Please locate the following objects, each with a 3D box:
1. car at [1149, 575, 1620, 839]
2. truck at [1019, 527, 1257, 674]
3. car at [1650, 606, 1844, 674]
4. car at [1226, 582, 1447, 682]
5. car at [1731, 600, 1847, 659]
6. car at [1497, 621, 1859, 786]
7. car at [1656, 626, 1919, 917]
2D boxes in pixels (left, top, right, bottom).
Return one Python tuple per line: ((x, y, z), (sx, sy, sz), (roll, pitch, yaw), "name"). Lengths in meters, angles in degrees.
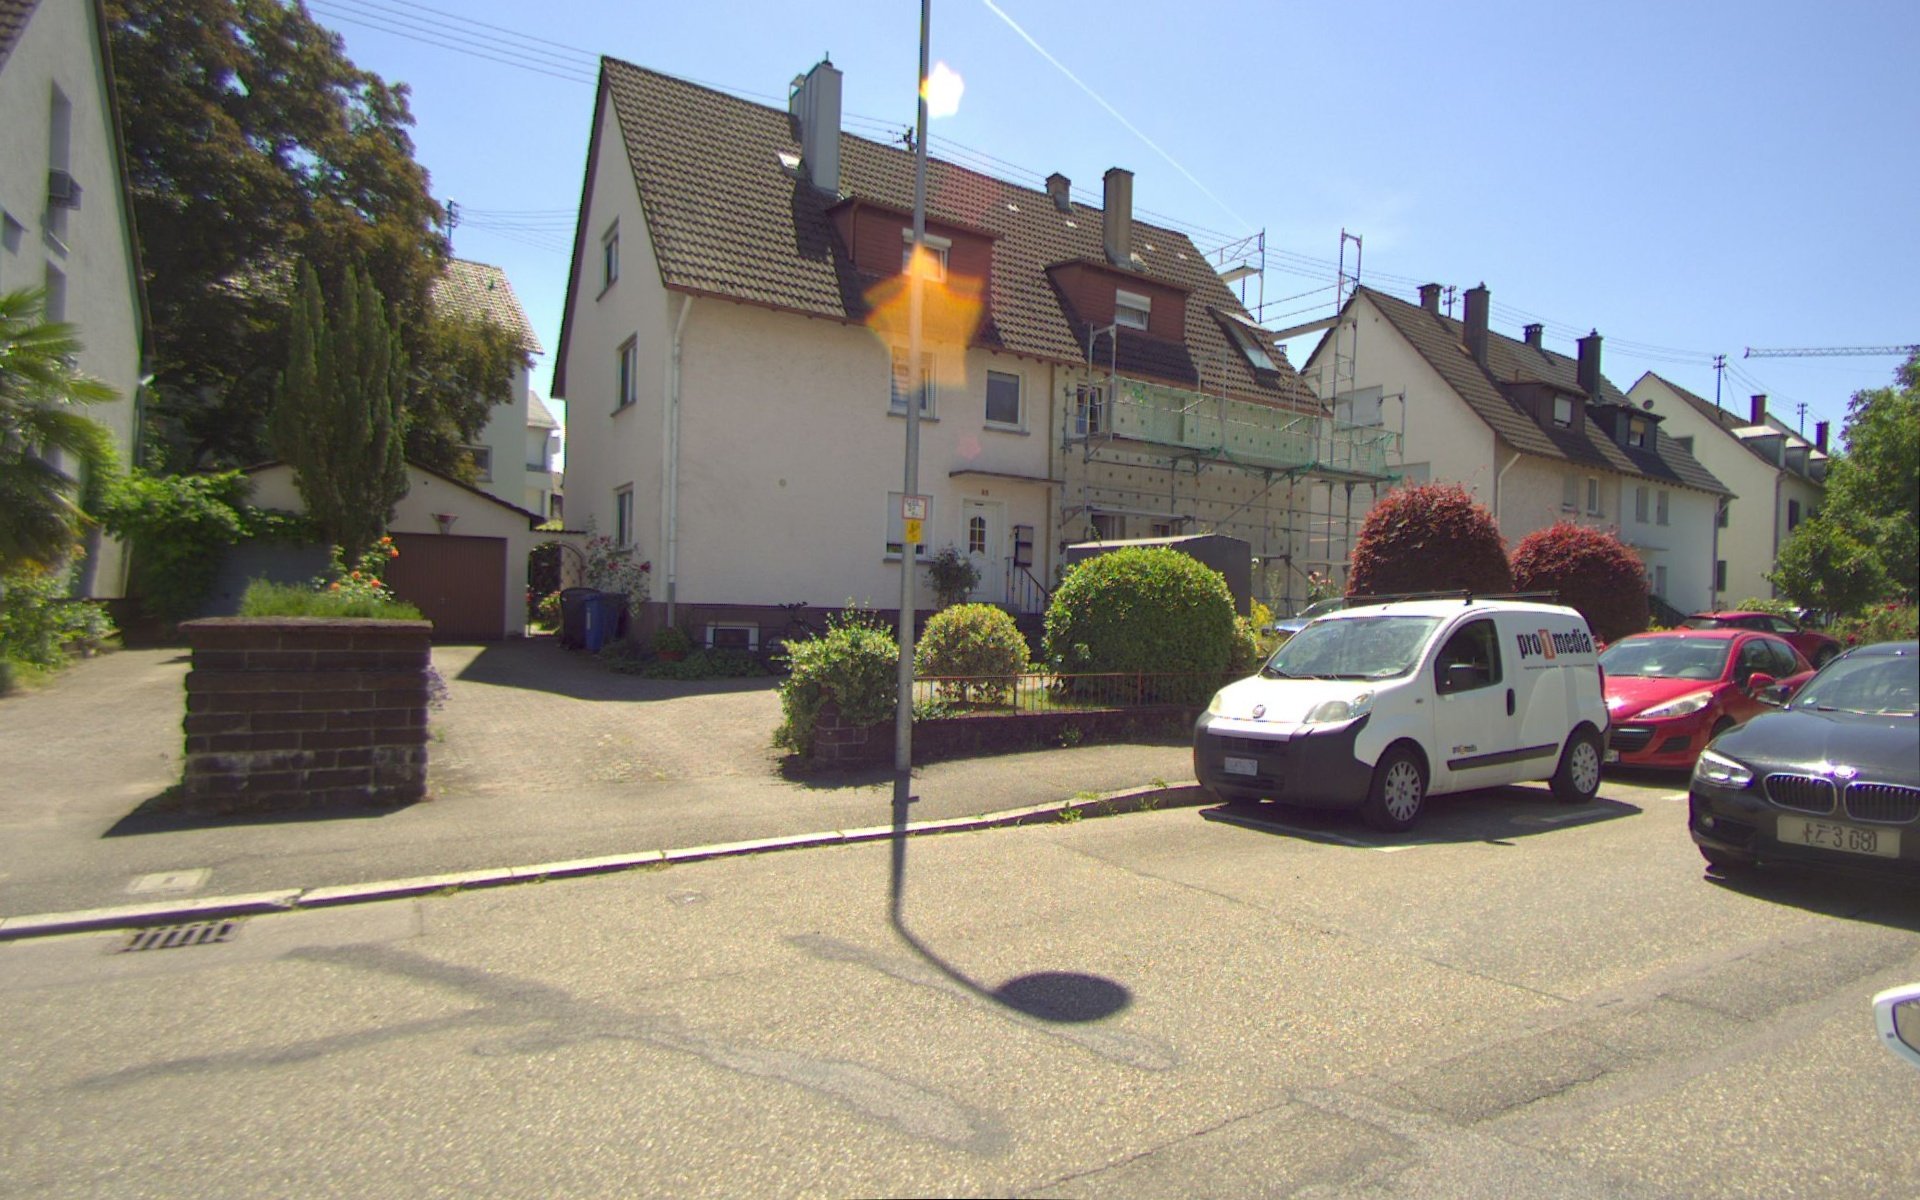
((3.623, 0.771, 8.449), (3.842, 1.759, 1.714), (1, -2, -31), "car")
((2.584, 0.036, 15.385), (1.529, 1.963, 3.748), (1, -1, -31), "truck")
((20.460, 1.001, 26.174), (4.037, 1.532, 1.645), (-1, 3, -9), "car")
((6.845, 0.538, 18.150), (3.958, 1.535, 1.675), (1, 4, -34), "car")
((28.859, 1.024, 34.945), (3.950, 1.895, 1.707), (2, 1, -28), "car")
((7.881, 1.006, 10.966), (4.011, 1.497, 1.752), (1, -2, -31), "car")
((6.248, 0.902, 6.276), (3.956, 1.435, 1.723), (2, -2, -32), "car")
